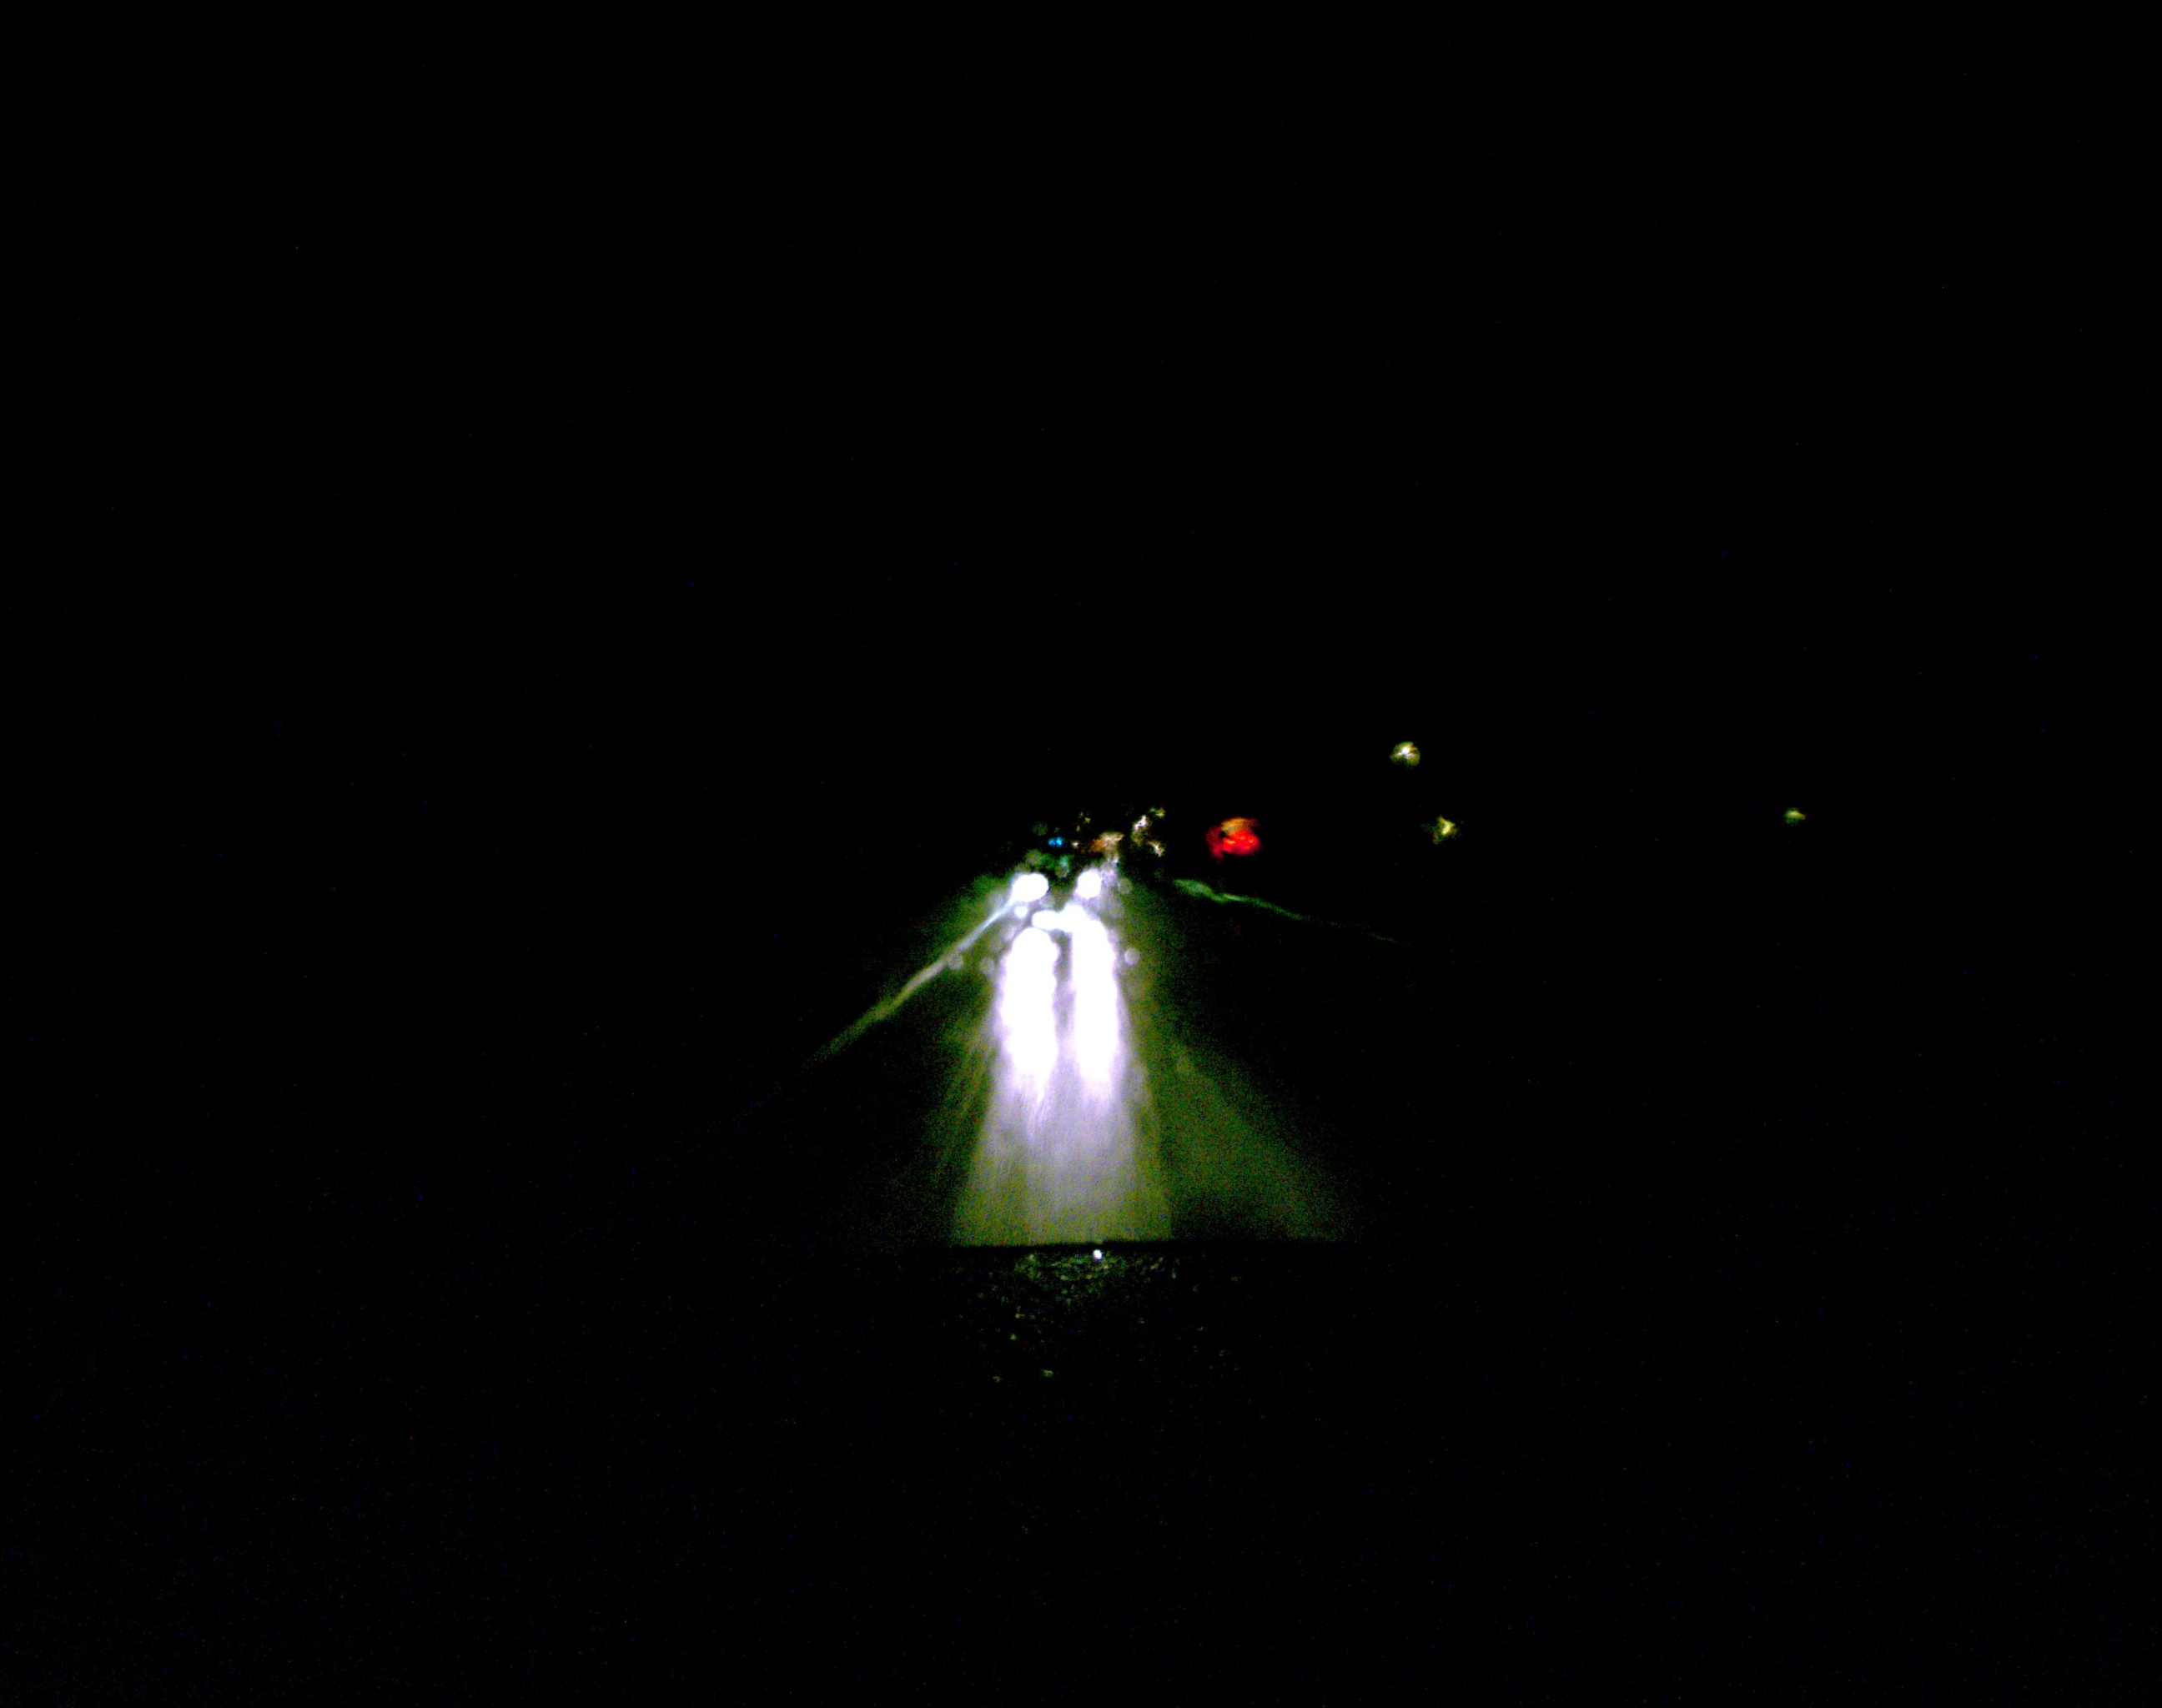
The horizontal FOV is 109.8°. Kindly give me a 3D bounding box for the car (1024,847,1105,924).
[{"bbox_3d":[-0.450,0.724,19.366,1.791,1.684,4.218,-2,0,-2],"label":"car"}]

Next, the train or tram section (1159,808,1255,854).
[{"bbox_3d":[12.722,-2.307,83.620,2.703,3.793,37.129,-4,1,-2],"label":"train or tram section"}]

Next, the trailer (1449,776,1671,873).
[{"bbox_3d":[29.482,-1.726,48.410,3.982,4.984,14.828,-4,1,-3],"label":"trailer"}]

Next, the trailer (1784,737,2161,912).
[{"bbox_3d":[30.171,-0.946,22.332,3.982,4.584,15.508,-4,1,-3],"label":"trailer"}]

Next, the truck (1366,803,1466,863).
[{"bbox_3d":[28.559,-1.766,65.511,3.448,4.584,10.208,-4,1,-3],"label":"truck"}]
